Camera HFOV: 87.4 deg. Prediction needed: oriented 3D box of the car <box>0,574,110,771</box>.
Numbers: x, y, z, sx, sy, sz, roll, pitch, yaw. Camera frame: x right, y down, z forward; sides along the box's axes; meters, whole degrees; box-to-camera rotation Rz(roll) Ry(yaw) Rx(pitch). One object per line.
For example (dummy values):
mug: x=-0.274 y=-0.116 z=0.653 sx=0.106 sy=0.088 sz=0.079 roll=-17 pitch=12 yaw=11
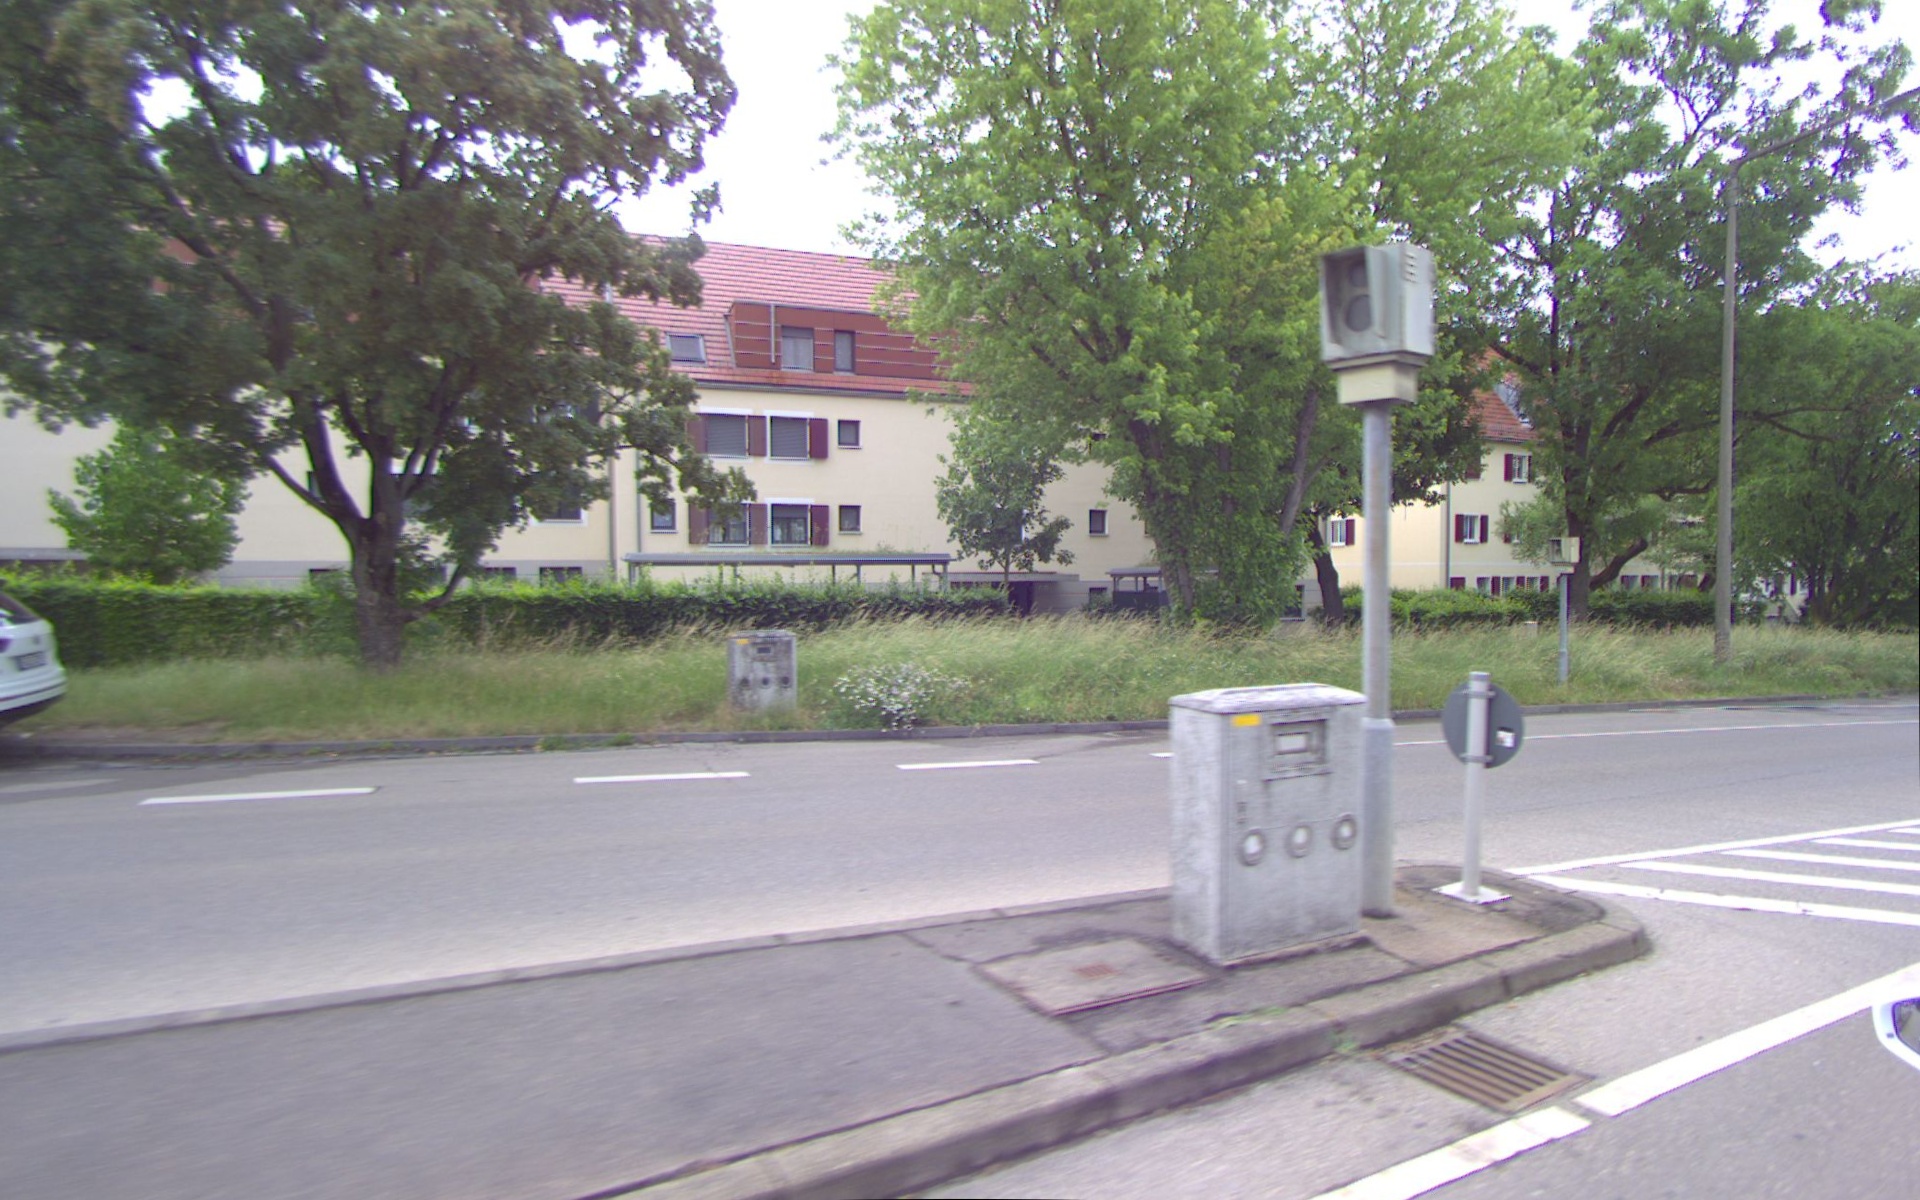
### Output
car: x=-10.431 y=0.578 z=8.668 sx=4.327 sy=1.689 sz=1.871 roll=1 pitch=1 yaw=-23

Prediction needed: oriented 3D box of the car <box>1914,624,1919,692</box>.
car: x=24.778 y=1.427 z=23.749 sx=4.593 sy=1.591 sz=1.867 roll=2 pitch=0 yaw=-28
